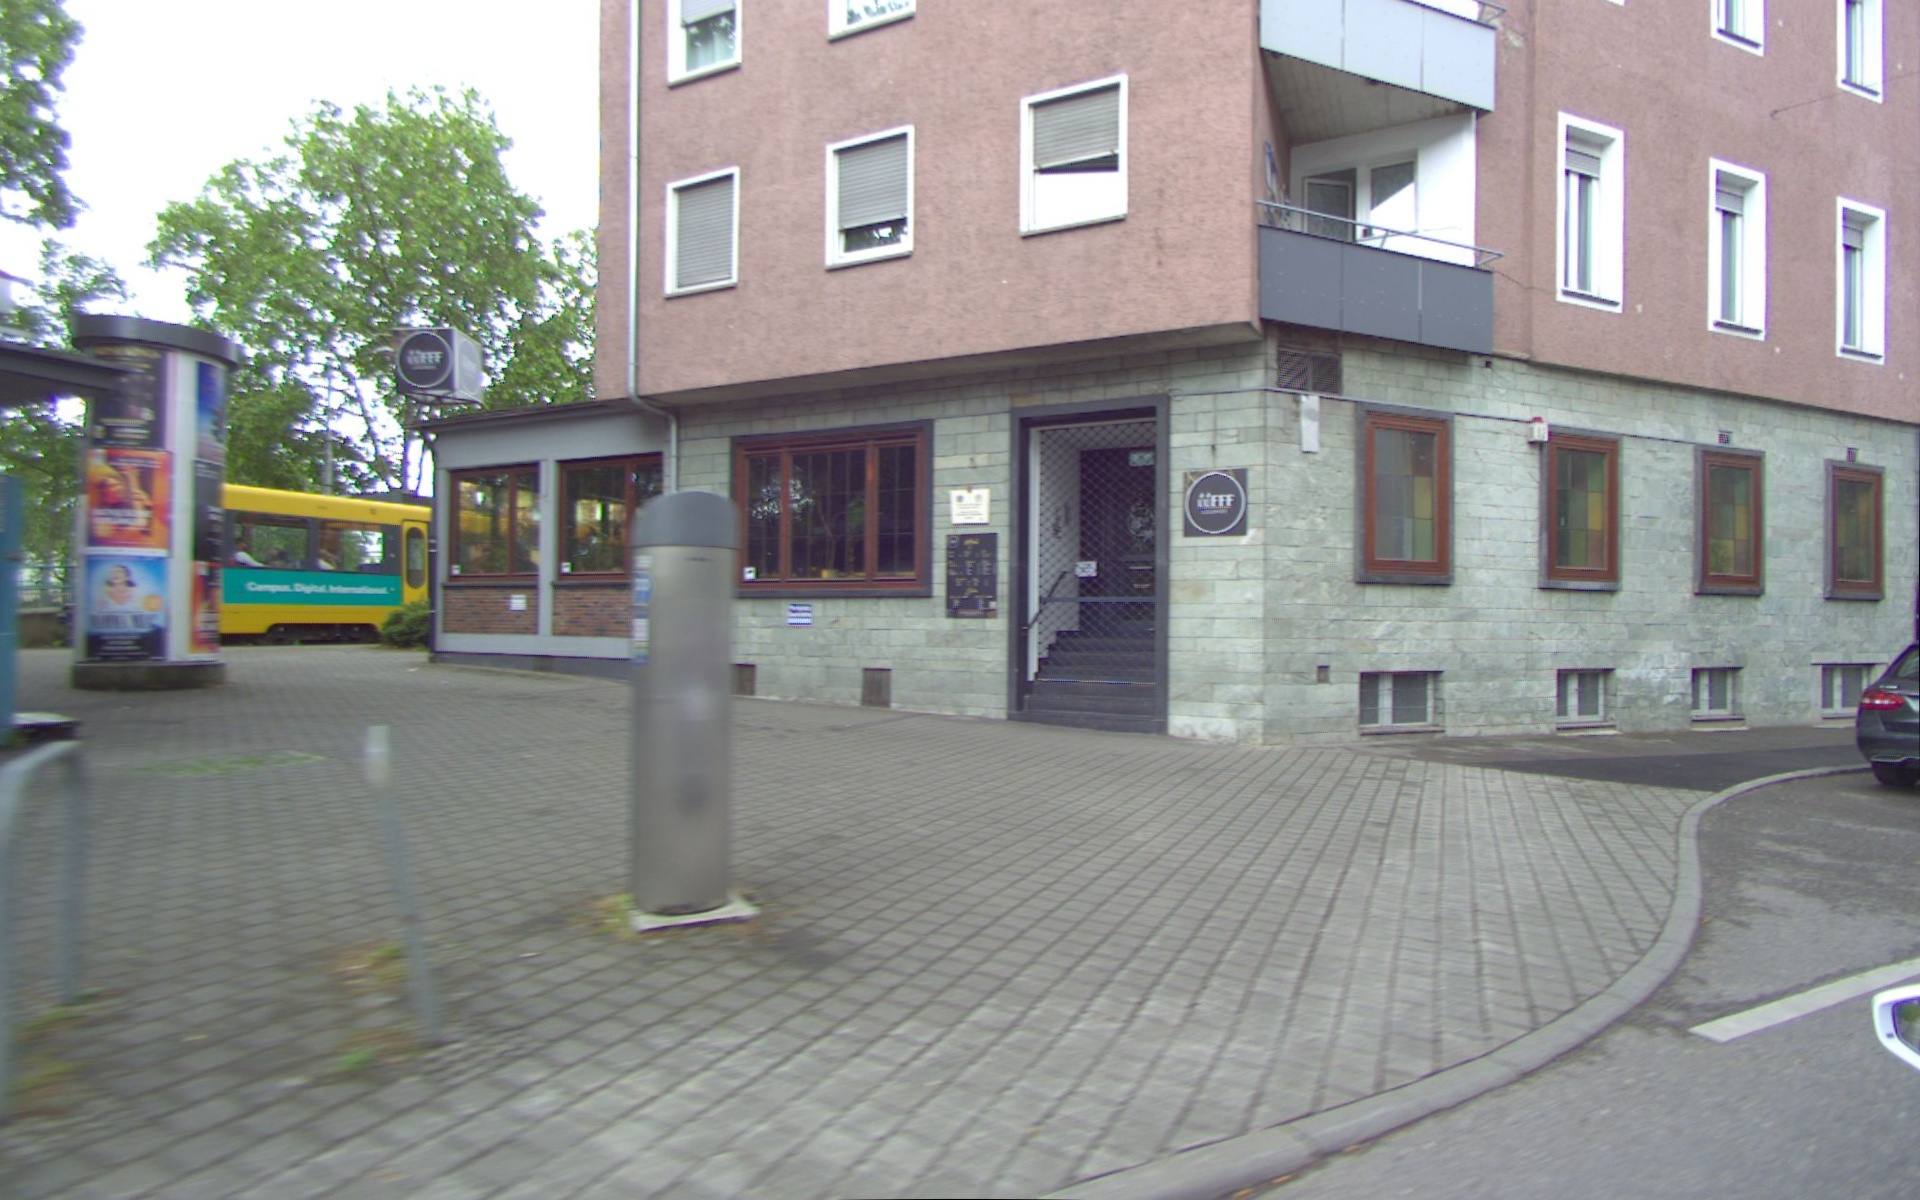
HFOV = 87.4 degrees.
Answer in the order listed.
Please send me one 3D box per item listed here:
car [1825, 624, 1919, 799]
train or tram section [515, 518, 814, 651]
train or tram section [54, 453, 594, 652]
[{"bbox_3d":[10.277,1.014,9.315,4.524,1.474,1.823,2,-1,-27],"label":"car"},{"bbox_3d":[-9.432,-0.247,34.223,2.870,3.720,10.996,4,-1,26],"label":"train or tram section"},{"bbox_3d":[-14.272,-0.738,24.363,2.870,3.720,10.996,4,-1,26],"label":"train or tram section"}]
